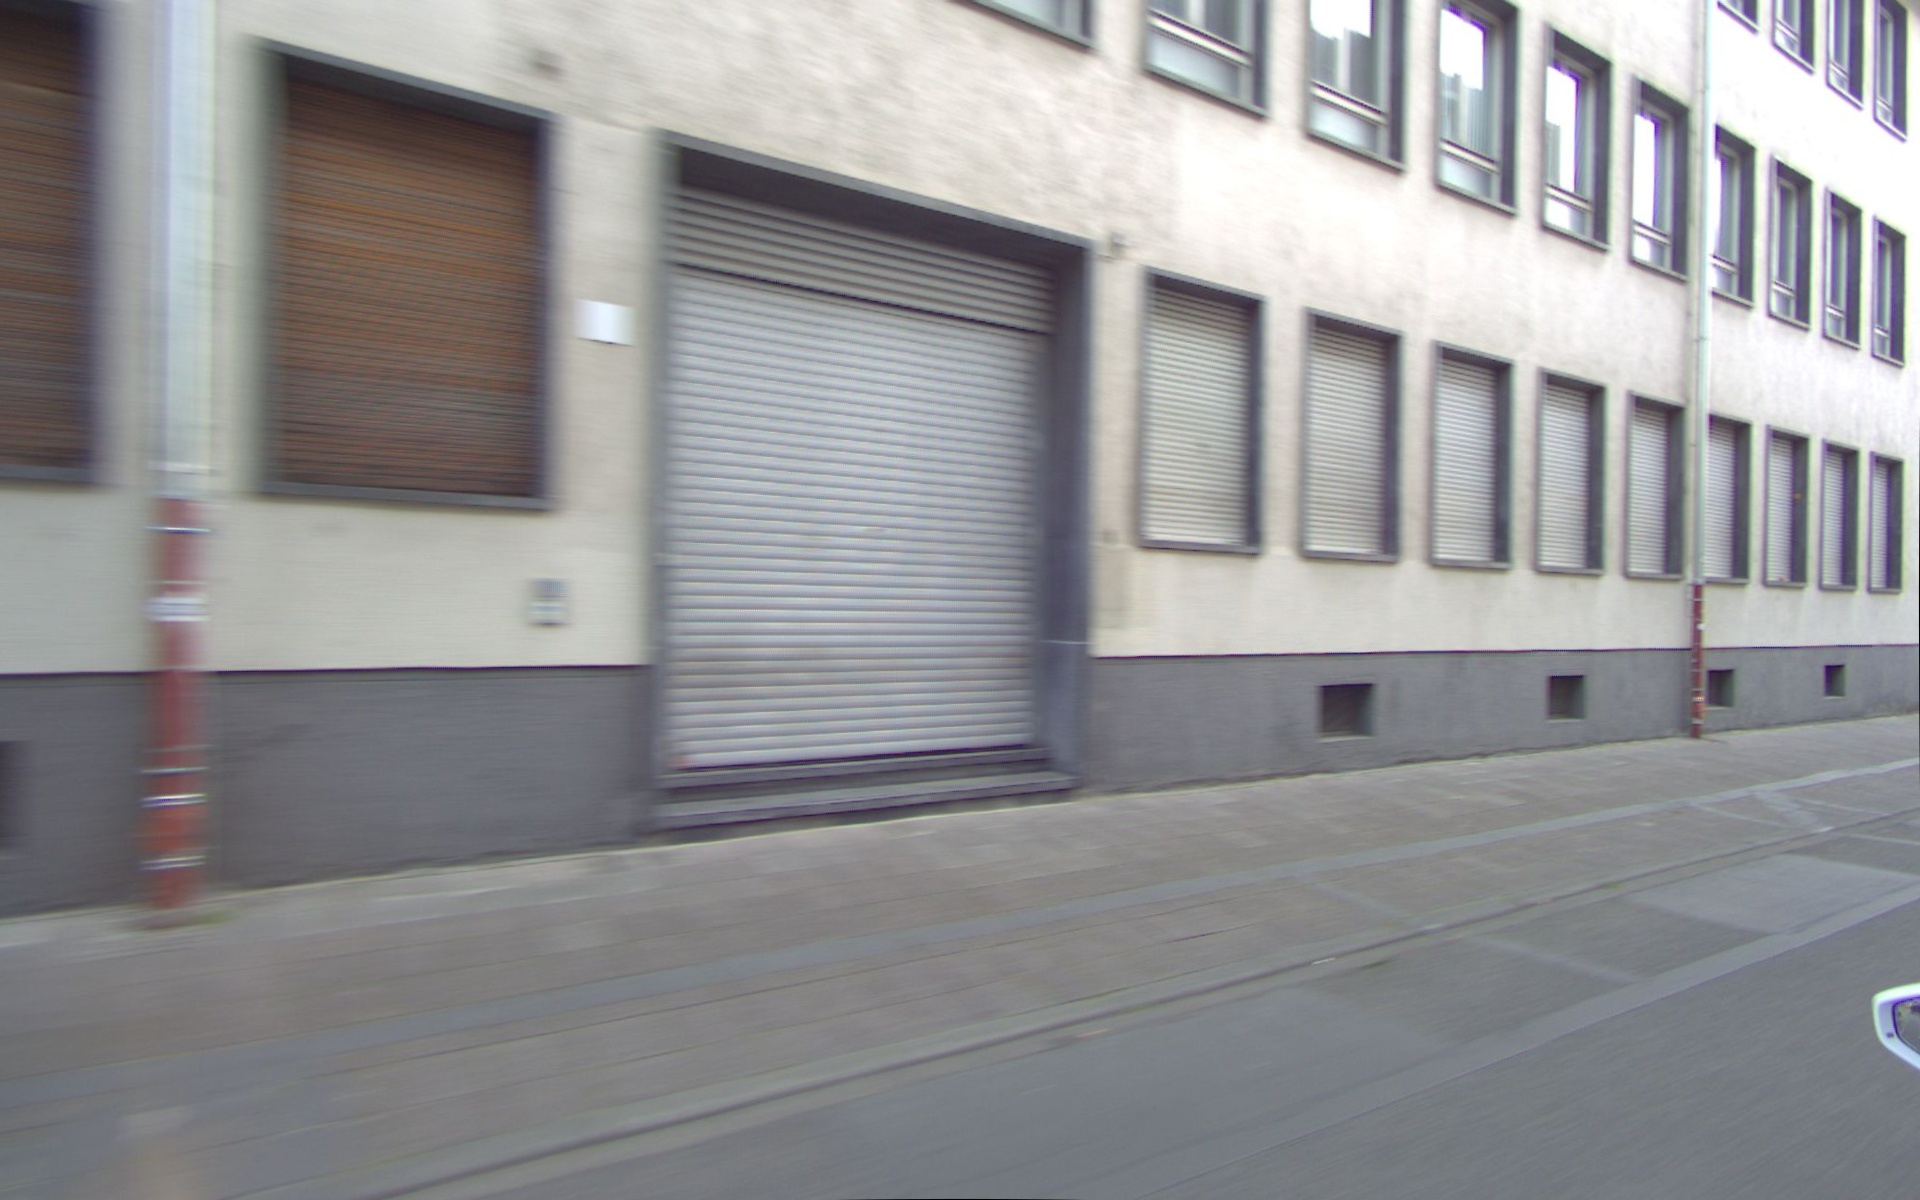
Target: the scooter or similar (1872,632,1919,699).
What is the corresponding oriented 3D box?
[{"bbox_3d":[18.445,1.282,19.219,1.343,1.217,0.531,4,2,35],"label":"scooter or similar"}]
